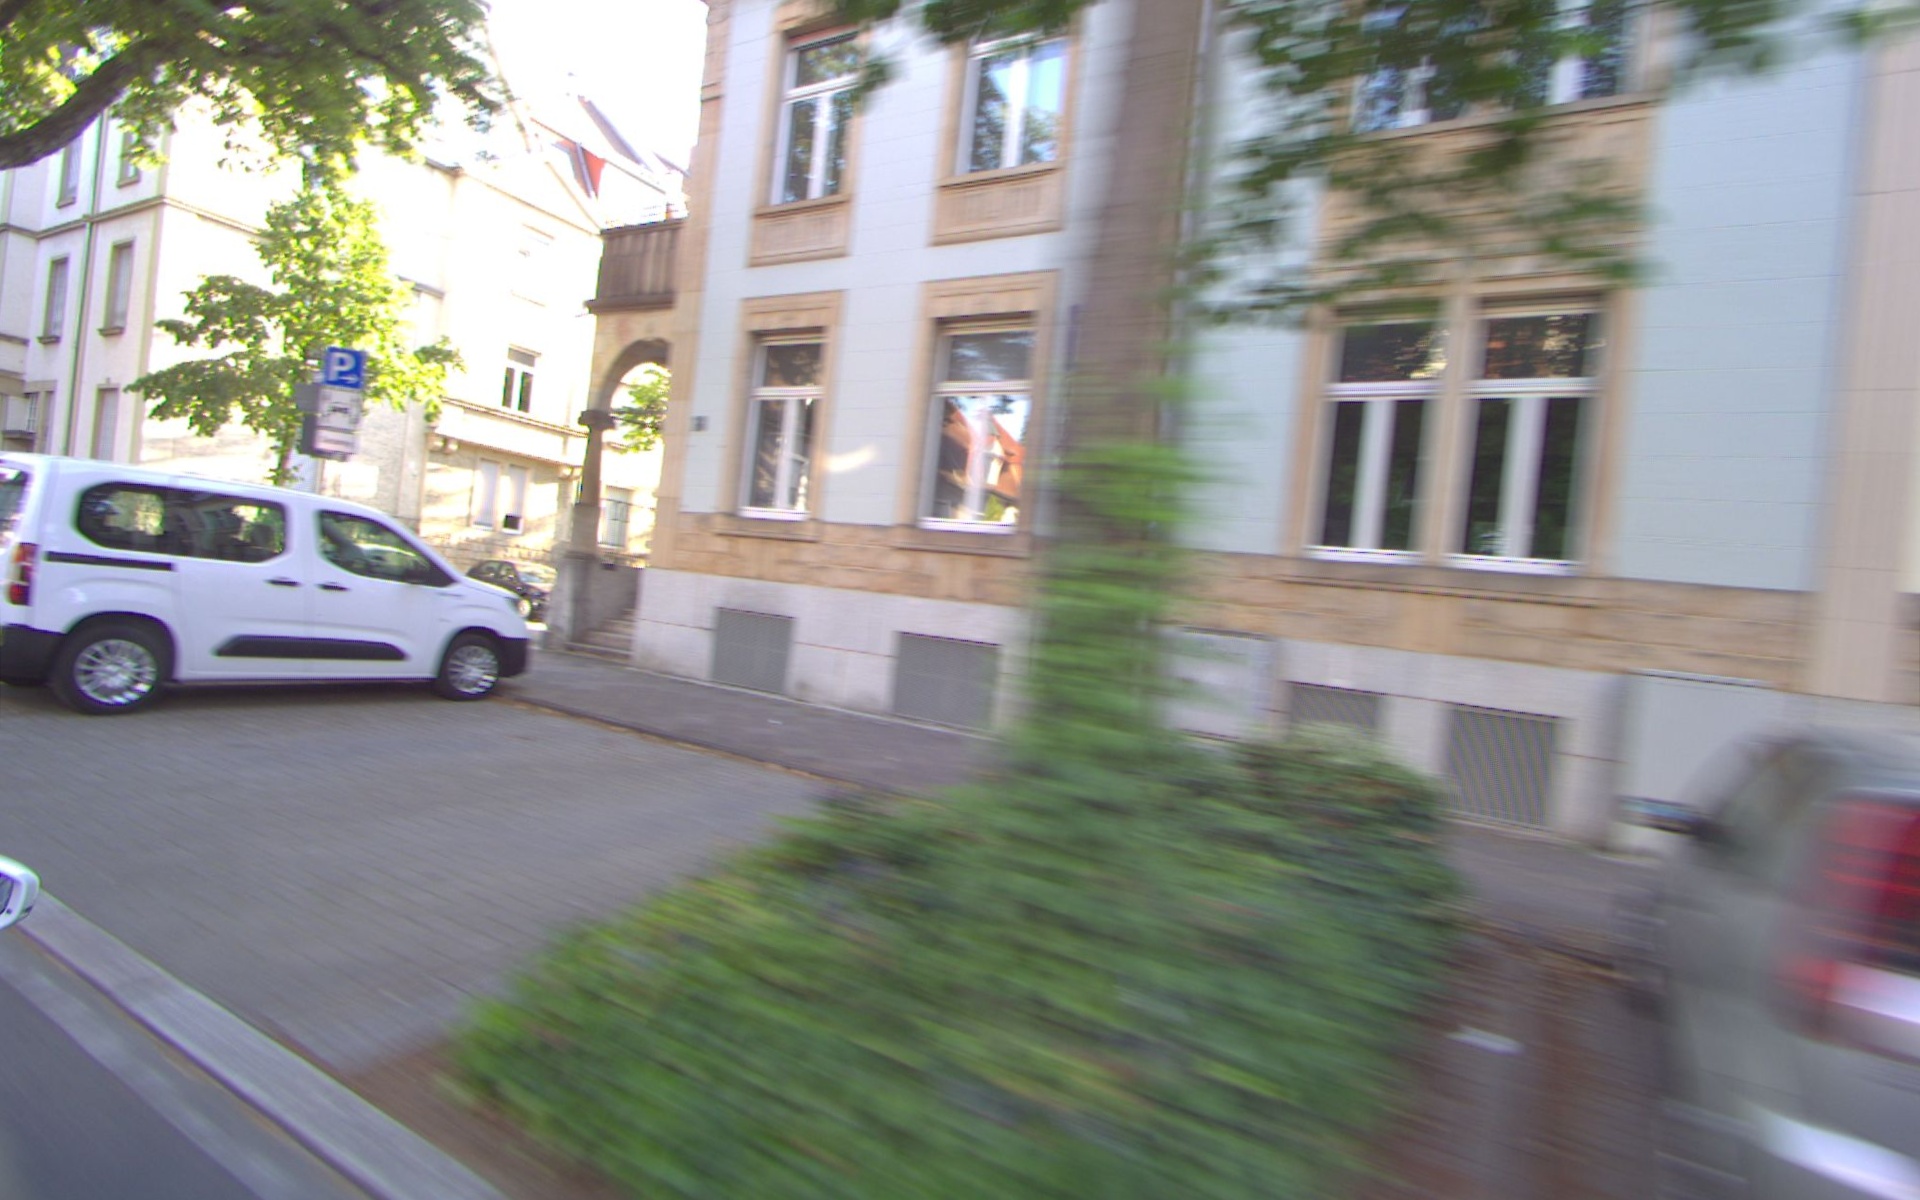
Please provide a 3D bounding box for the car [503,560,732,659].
[{"bbox_3d":[-6.713,0.264,20.191,1.628,1.494,4.163,8,0,31],"label":"car"}]

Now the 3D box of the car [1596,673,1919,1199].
[{"bbox_3d":[3.146,1.090,3.154,1.705,1.481,3.751,7,0,31],"label":"car"}]

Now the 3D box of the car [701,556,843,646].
[{"bbox_3d":[-6.441,0.014,34.255,4.447,2.450,1.874,7,0,33],"label":"car"}]

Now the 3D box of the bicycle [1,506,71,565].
[{"bbox_3d":[-22.236,-1.564,24.208,1.924,1.226,0.585,7,0,30],"label":"bicycle"}]

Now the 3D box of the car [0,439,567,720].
[{"bbox_3d":[-6.006,-0.103,8.873,1.967,1.830,4.318,7,0,31],"label":"car"}]

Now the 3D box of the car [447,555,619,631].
[{"bbox_3d":[-11.240,-0.196,26.414,4.454,1.426,1.846,7,0,32],"label":"car"}]
